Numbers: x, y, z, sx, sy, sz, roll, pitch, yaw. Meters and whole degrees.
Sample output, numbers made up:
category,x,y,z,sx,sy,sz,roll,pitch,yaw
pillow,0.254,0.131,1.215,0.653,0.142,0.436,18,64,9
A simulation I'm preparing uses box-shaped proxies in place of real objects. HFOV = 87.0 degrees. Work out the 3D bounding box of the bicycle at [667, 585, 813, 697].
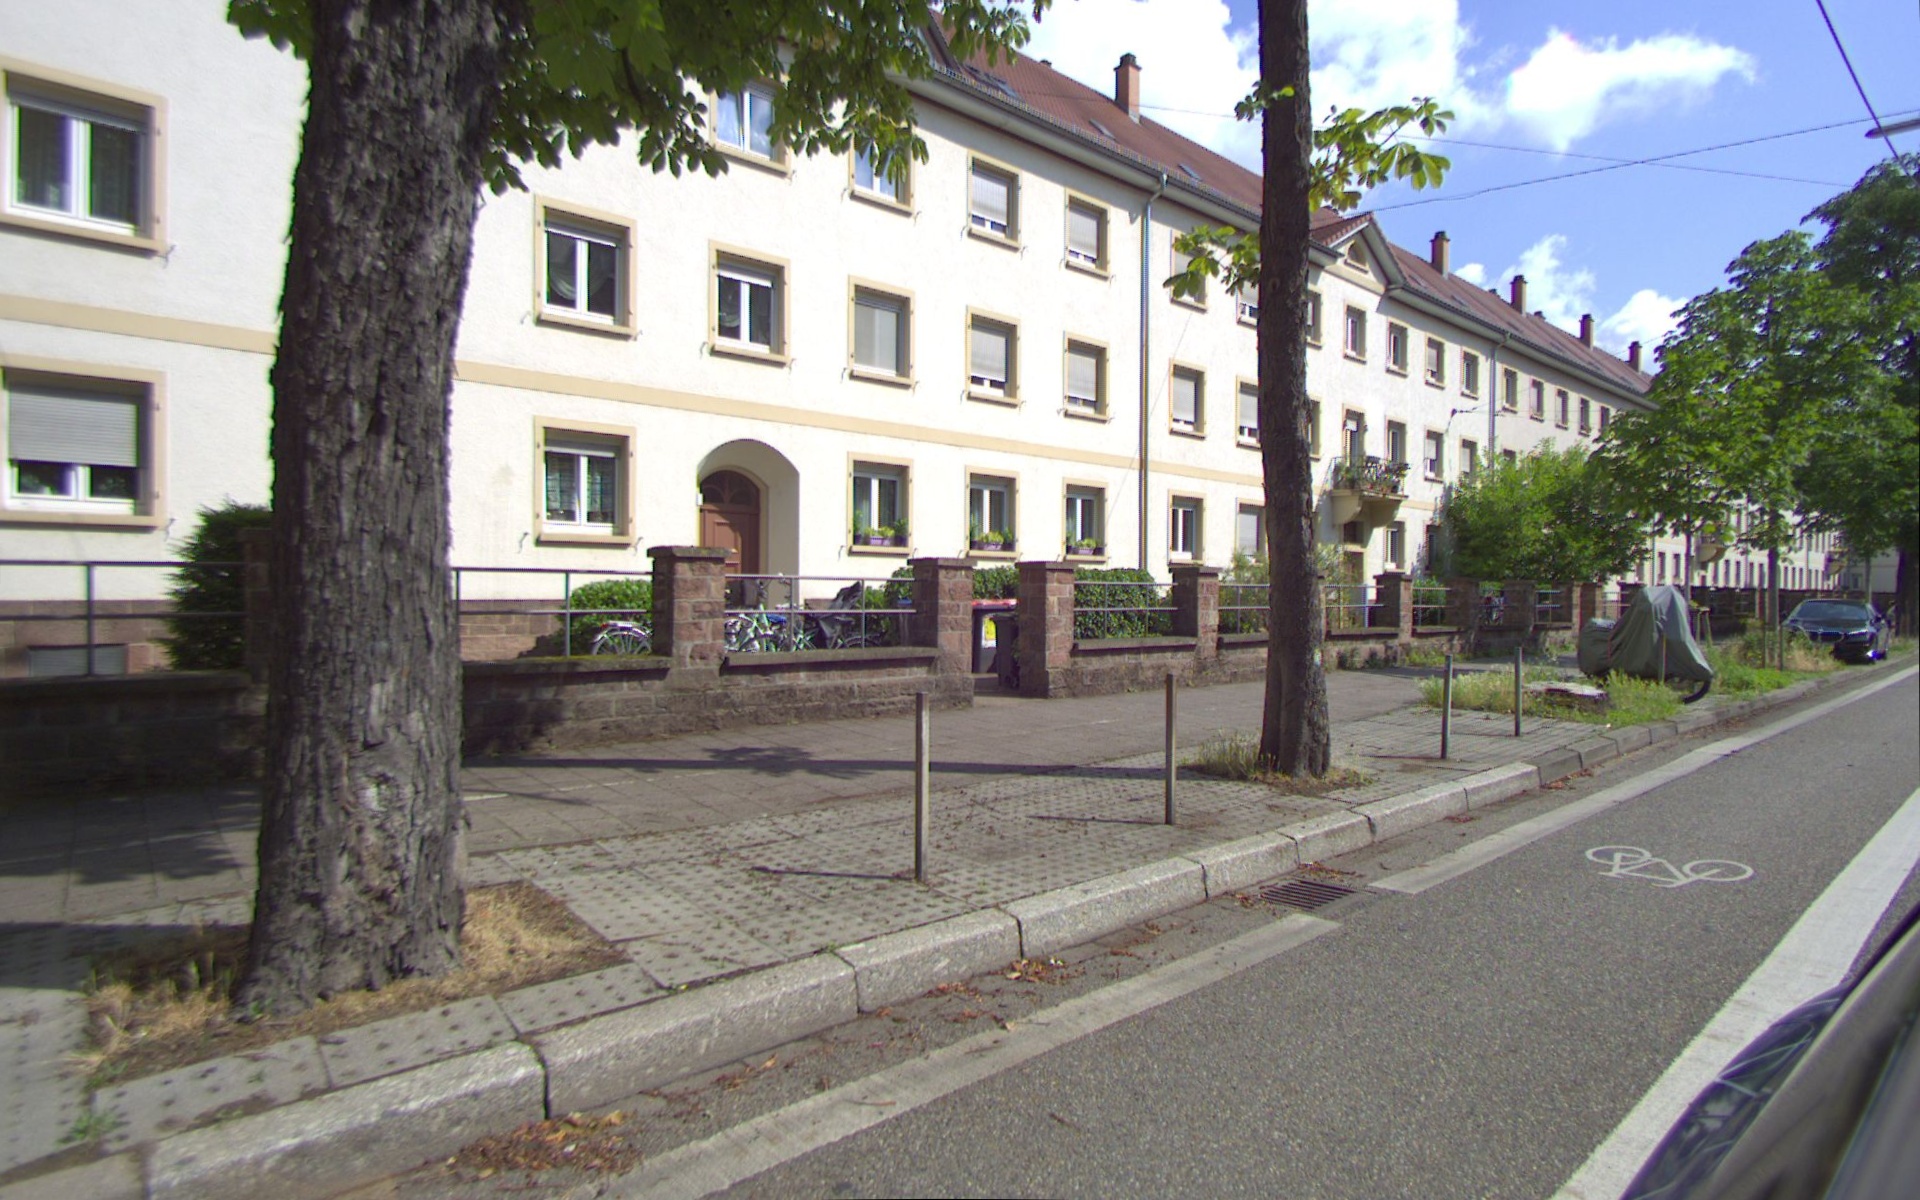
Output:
category,x,y,z,sx,sy,sz,roll,pitch,yaw
bicycle,-2.535,0.442,11.790,1.674,1.227,0.413,0,0,-41

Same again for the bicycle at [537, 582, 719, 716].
category,x,y,z,sx,sy,sz,roll,pitch,yaw
bicycle,-3.234,0.442,9.962,1.674,1.227,0.413,0,0,-41

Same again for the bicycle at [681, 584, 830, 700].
category,x,y,z,sx,sy,sz,roll,pitch,yaw
bicycle,-2.281,0.441,11.442,1.674,1.227,0.413,0,0,-41

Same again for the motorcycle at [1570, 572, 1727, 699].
category,x,y,z,sx,sy,sz,roll,pitch,yaw
motorcycle,9.512,0.436,14.122,0.666,1.617,2.385,0,1,3

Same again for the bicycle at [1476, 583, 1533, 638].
category,x,y,z,sx,sy,sz,roll,pitch,yaw
bicycle,12.584,0.230,23.360,1.674,1.227,0.600,0,1,-41

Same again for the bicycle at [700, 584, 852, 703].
category,x,y,z,sx,sy,sz,roll,pitch,yaw
bicycle,-1.999,0.437,11.136,1.674,1.227,0.413,0,0,-41

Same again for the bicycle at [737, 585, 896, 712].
category,x,y,z,sx,sy,sz,roll,pitch,yaw
bicycle,-1.450,0.461,10.455,1.674,1.227,0.413,0,0,-41

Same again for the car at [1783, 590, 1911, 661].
category,x,y,z,sx,sy,sz,roll,pitch,yaw
car,20.768,0.561,23.648,4.124,1.498,1.708,-1,-1,-42

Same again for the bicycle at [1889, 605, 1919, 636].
category,x,y,z,sx,sy,sz,roll,pitch,yaw
bicycle,31.979,0.690,33.532,0.626,1.019,1.711,0,1,-40

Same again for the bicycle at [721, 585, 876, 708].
category,x,y,z,sx,sy,sz,roll,pitch,yaw
bicycle,-1.695,0.456,10.800,1.674,1.227,0.413,0,0,-41

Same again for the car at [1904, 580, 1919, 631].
category,x,y,z,sx,sy,sz,roll,pitch,yaw
car,35.756,0.207,36.673,4.651,1.805,1.830,0,1,-42
